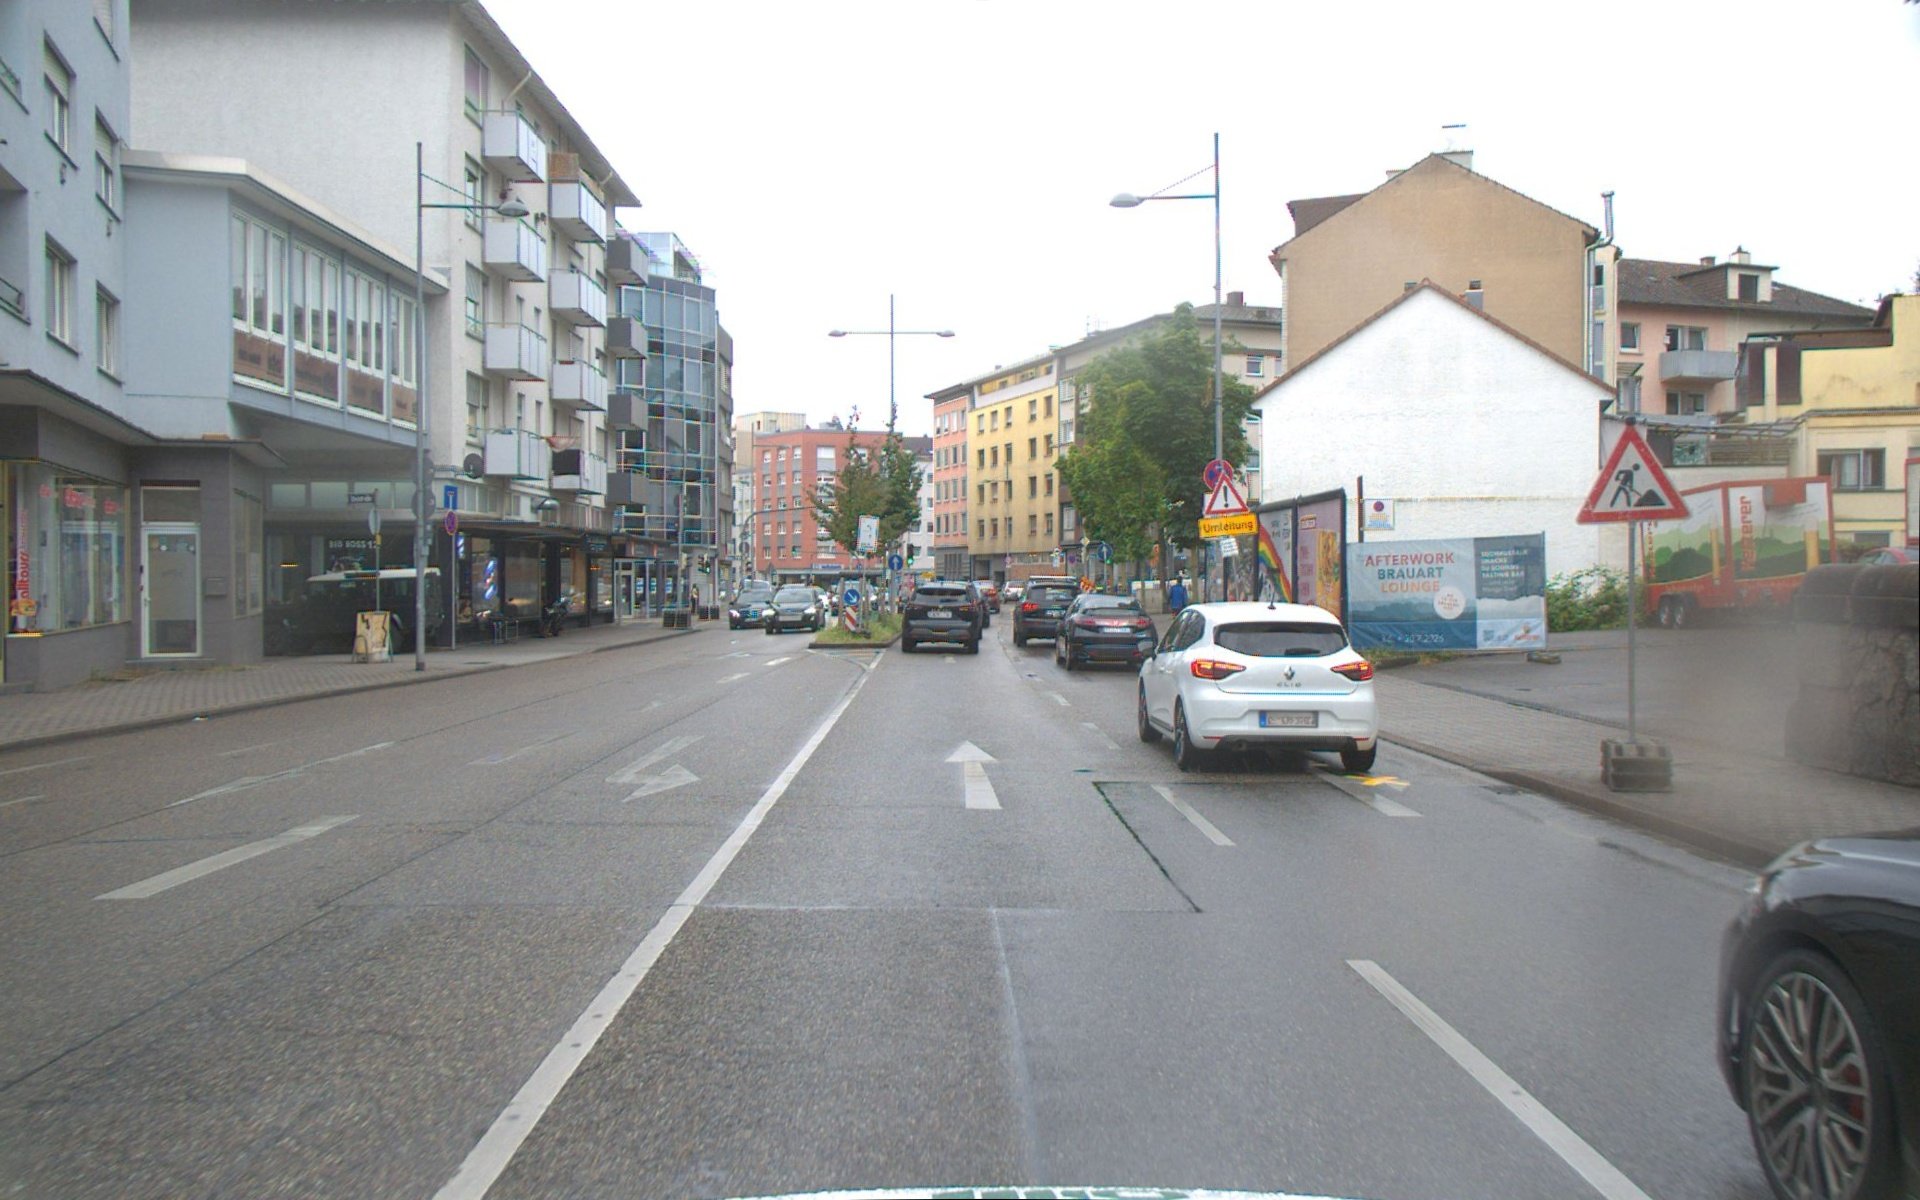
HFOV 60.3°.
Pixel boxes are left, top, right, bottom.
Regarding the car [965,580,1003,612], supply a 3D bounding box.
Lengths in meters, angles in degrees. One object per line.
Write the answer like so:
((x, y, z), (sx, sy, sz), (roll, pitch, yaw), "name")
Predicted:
((1.098, -0.195, 77.564), (1.608, 1.405, 3.347), (-2, 0, -2), "car")

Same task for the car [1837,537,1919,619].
((18.302, -0.440, 31.532), (1.556, 1.482, 3.266), (-2, 0, 3), "car")

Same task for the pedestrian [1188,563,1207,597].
((14.348, -1.206, 99.955), (0.809, 2.048, 0.835), (1, 1, -19), "pedestrian")

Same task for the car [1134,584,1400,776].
((2.716, 0.637, 15.454), (1.631, 1.420, 3.866), (3, 1, -1), "car")

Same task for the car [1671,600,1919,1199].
((2.951, 0.733, 2.422), (1.753, 1.427, 4.633), (-1, 1, -1), "car")

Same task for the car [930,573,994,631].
((0.059, 0.040, 49.097), (1.786, 1.628, 3.718), (1, 0, 0), "car")

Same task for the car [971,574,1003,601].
((1.485, -0.695, 92.172), (1.608, 1.405, 3.347), (-2, 0, -2), "car")

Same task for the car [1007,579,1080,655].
((2.164, 0.398, 43.769), (1.792, 1.837, 3.720), (1, 1, 1), "car")

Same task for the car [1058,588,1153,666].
((2.827, 0.485, 32.725), (1.749, 1.424, 3.720), (1, 0, 3), "car")

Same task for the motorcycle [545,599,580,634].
((-12.239, 0.491, 50.999), (0.515, 1.013, 2.137), (1, 0, 1), "motorcycle")

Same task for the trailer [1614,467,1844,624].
((15.080, -1.041, 32.824), (2.083, 2.763, 5.393), (-3, 1, 2), "trailer")

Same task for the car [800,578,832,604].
((-8.494, -0.536, 97.845), (1.599, 1.432, 3.437), (-3, 0, -1), "car")

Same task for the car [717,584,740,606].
((-16.493, -0.364, 117.782), (1.429, 1.455, 3.361), (1, 1, -11), "car")

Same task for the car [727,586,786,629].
((-7.938, 0.264, 64.865), (1.673, 1.493, 4.829), (-3, 0, 0), "car")

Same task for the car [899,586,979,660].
((-0.464, 0.504, 39.410), (1.786, 1.628, 3.718), (1, 0, 0), "car")

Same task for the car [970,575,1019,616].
((1.245, -0.166, 60.704), (1.608, 1.405, 3.347), (-2, 0, -2), "car")

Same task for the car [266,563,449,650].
((-14.801, 0.149, 40.758), (3.882, 2.070, 1.580), (-1, 0, 0), "car")

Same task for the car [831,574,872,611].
((-5.242, -0.356, 80.531), (1.649, 1.690, 4.096), (-2, 0, 0), "car")

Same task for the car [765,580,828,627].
((-5.558, 0.092, 56.531), (1.685, 1.448, 4.165), (-3, 0, 0), "car")

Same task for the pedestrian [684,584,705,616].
((-13.474, -0.010, 83.897), (0.775, 1.618, 0.753), (-2, 0, -37), "pedestrian")

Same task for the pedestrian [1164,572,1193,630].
((6.877, 0.019, 51.979), (0.774, 1.786, 0.872), (-2, 0, 13), "pedestrian")

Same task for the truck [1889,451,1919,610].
((20.941, -1.461, 31.730), (2.576, 3.272, 6.933), (-2, 0, 4), "truck")

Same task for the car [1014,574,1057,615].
((3.368, -0.267, 73.191), (1.792, 1.713, 3.720), (1, 1, 3), "car")
